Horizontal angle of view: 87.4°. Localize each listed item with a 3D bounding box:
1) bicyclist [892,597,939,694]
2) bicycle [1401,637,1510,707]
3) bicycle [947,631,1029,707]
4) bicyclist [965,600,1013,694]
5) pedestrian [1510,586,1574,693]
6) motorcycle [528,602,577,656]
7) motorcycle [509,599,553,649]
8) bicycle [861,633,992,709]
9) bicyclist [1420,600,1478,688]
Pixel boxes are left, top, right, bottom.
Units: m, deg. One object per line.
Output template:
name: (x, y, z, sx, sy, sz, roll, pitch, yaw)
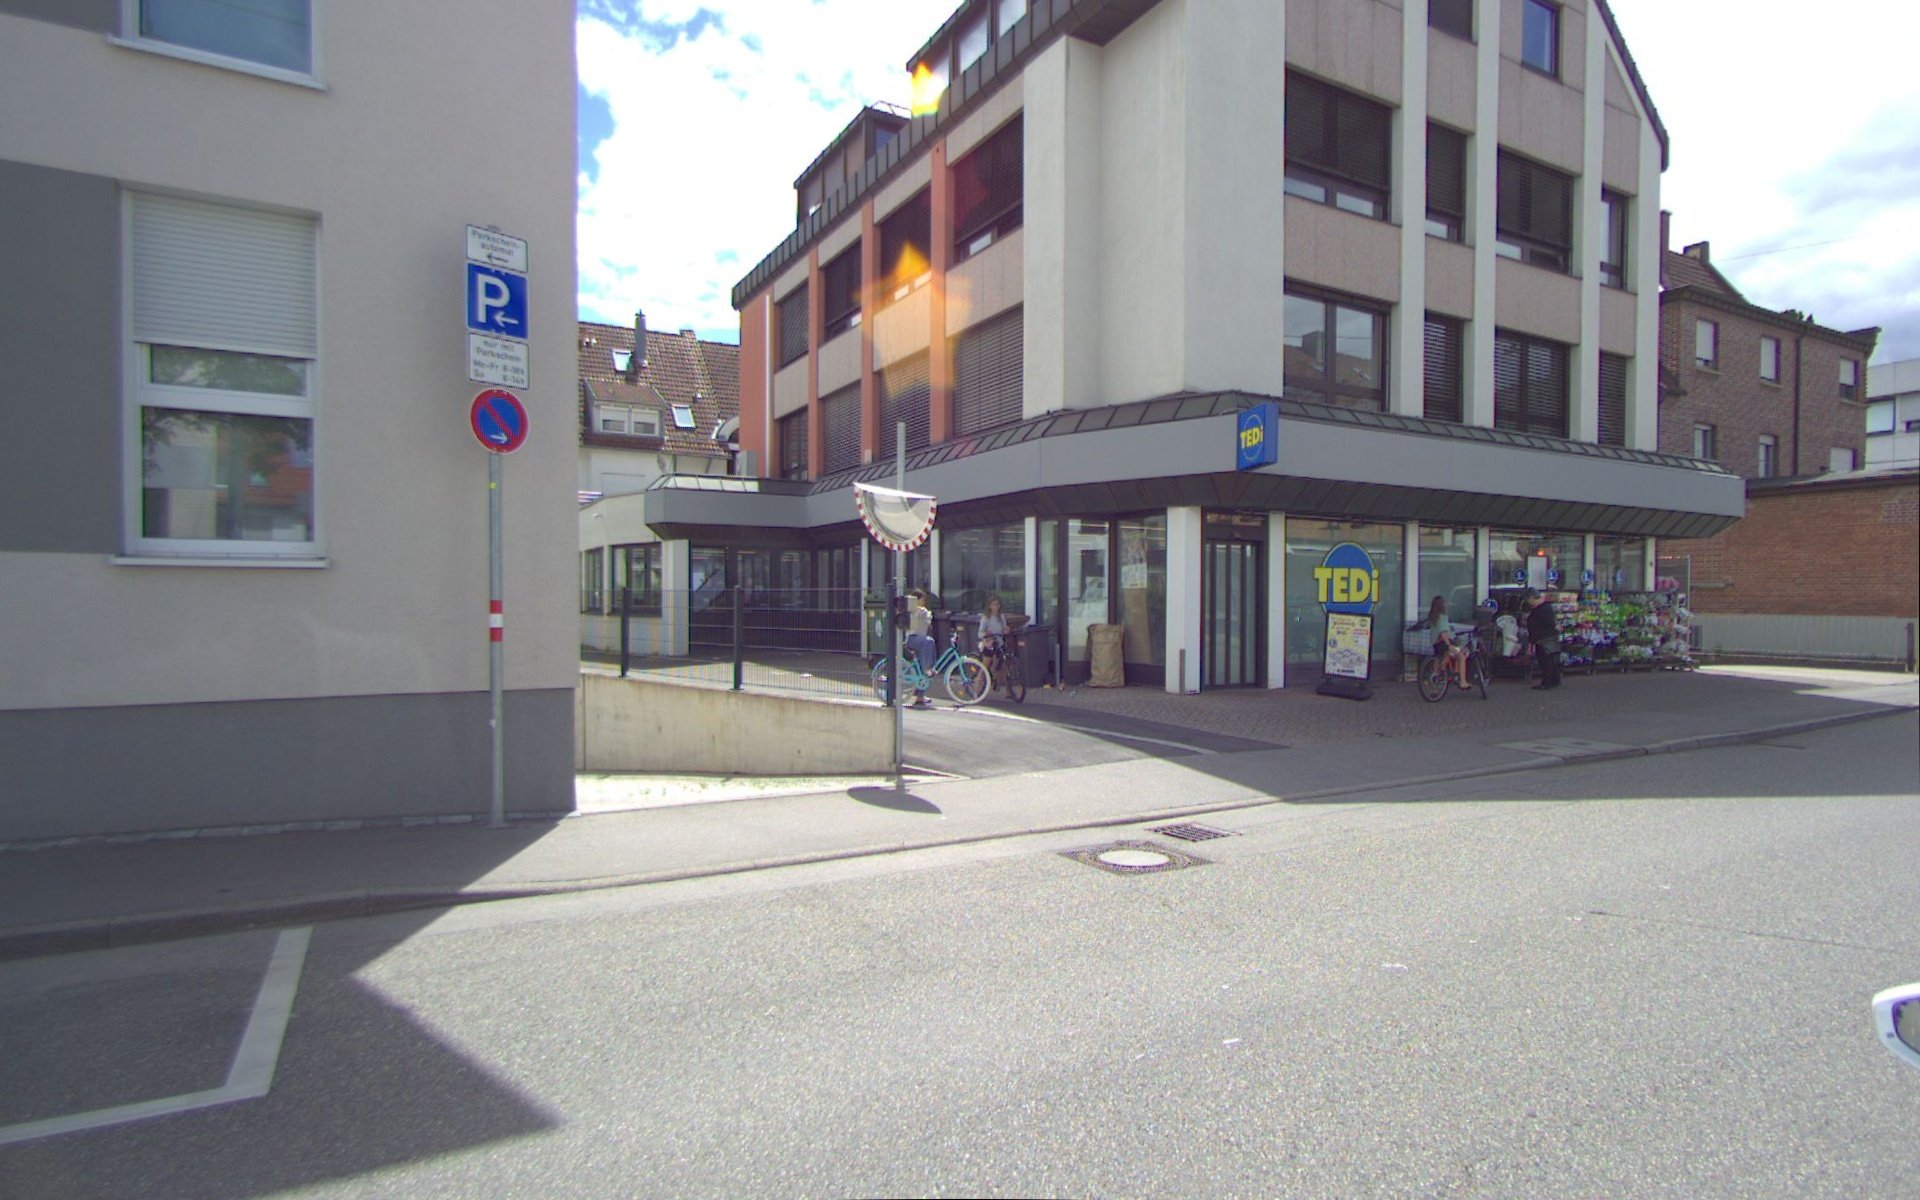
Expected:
bicyclist: (-0.564, 0.573, 12.806, 0.489, 1.197, 0.397, 2, 1, 11)
bicycle: (6.961, 0.989, 14.083, 1.756, 0.873, 0.465, 0, 2, -30)
bicycle: (0.343, 0.877, 13.243, 0.299, 0.908, 1.543, 1, -1, -31)
bicyclist: (0.380, 0.609, 13.228, 0.392, 1.197, 0.495, 1, 1, -30)
pedestrian: (9.032, 0.603, 15.599, 0.555, 1.624, 0.626, 2, 0, -25)
motorcycle: (-11.423, 0.805, 28.123, 0.917, 1.380, 2.152, 2, 1, -31)
motorcycle: (-13.058, 0.707, 30.525, 0.917, 1.380, 2.152, 2, 1, -31)
bicycle: (-0.429, 0.895, 12.775, 1.619, 0.908, 0.303, 1, 0, 11)
bicyclist: (6.857, 0.609, 14.082, 0.617, 1.194, 0.456, 1, 0, -30)
